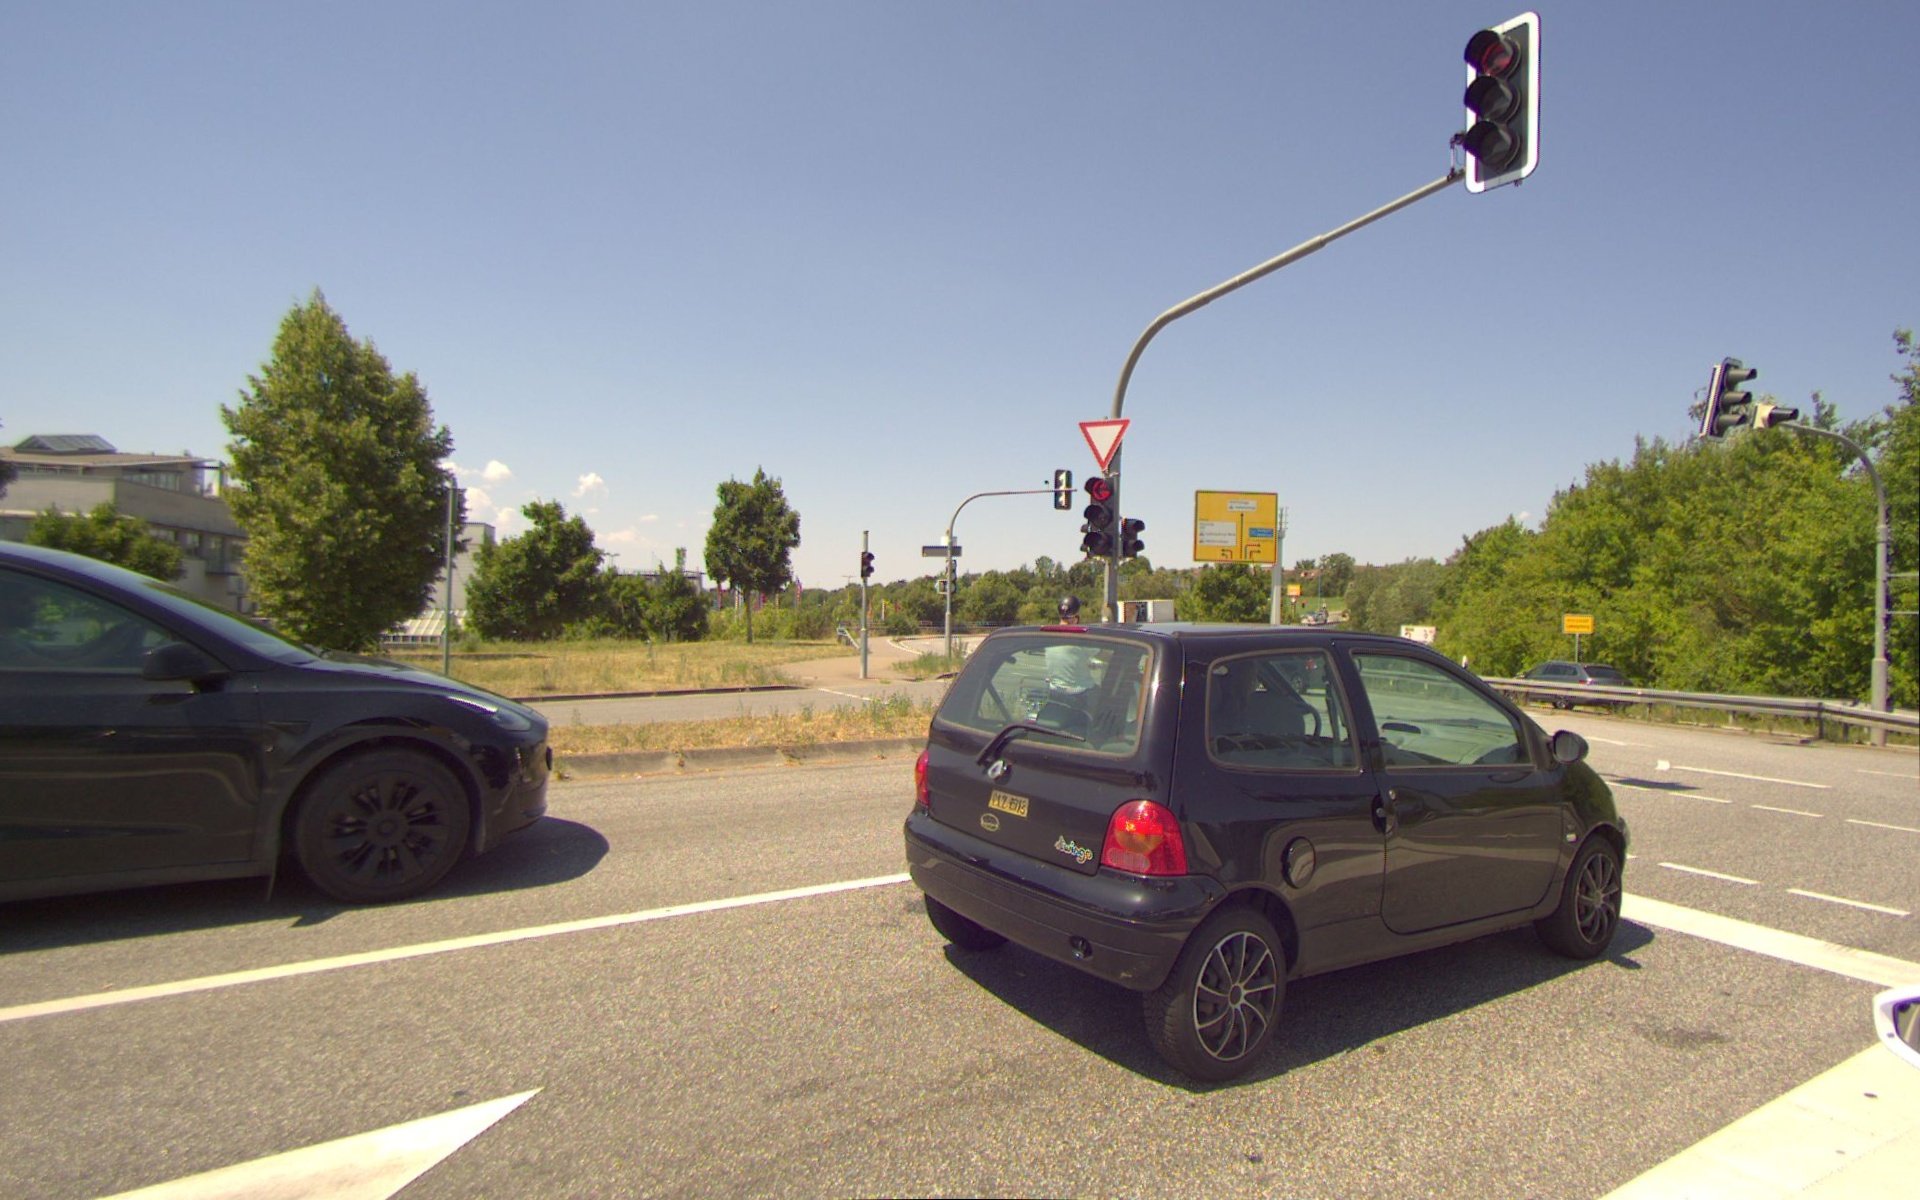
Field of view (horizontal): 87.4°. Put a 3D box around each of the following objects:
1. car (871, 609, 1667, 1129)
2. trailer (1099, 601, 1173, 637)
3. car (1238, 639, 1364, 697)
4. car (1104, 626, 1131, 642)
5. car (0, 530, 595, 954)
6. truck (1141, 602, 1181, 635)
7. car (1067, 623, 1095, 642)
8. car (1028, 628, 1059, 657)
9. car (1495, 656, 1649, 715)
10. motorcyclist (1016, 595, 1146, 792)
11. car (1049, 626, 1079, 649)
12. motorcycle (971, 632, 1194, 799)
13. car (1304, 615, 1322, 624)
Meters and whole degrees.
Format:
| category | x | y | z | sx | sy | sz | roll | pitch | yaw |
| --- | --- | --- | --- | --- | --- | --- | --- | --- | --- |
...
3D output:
| category | x | y | z | sx | sy | sz | roll | pitch | yaw |
| --- | --- | --- | --- | --- | --- | --- | --- | --- | --- |
| car | 1.436 | 0.795 | 4.376 | 3.266 | 1.426 | 1.609 | 2 | -1 | -33 |
| trailer | 23.165 | 2.386 | 131.165 | 3.188 | 4.305 | 15.356 | 1 | 0 | 35 |
| car | 10.321 | 2.026 | 30.726 | 1.781 | 1.452 | 3.918 | 4 | -1 | -13 |
| car | 17.227 | 3.721 | 109.964 | 1.962 | 1.573 | 3.998 | 1 | 0 | 24 |
| car | -4.214 | 0.533 | 4.586 | 4.460 | 1.622 | 1.863 | 2 | 0 | -35 |
| truck | 27.526 | 2.455 | 137.410 | 3.189 | 4.305 | 6.216 | 1 | 1 | 35 |
| car | 11.820 | 3.159 | 97.745 | 1.896 | 1.687 | 4.000 | 1 | 0 | 18 |
| car | 5.363 | 2.663 | 63.865 | 1.847 | 1.755 | 4.003 | 1 | -2 | 6 |
| car | 19.156 | 2.632 | 31.682 | 1.778 | 1.452 | 4.409 | 5 | -2 | -6 |
| motorcyclist | 1.018 | 0.760 | 8.452 | 0.838 | 1.560 | 0.607 | 3 | 0 | -33 |
| car | 8.421 | 2.997 | 80.988 | 1.845 | 1.644 | 4.002 | 1 | 0 | 14 |
| motorcycle | 1.067 | 0.935 | 8.474 | 1.921 | 1.255 | 0.573 | 3 | -1 | -34 |
| car | 66.652 | 3.767 | 189.796 | 3.792 | 1.652 | 1.780 | 2 | 0 | -45 |
